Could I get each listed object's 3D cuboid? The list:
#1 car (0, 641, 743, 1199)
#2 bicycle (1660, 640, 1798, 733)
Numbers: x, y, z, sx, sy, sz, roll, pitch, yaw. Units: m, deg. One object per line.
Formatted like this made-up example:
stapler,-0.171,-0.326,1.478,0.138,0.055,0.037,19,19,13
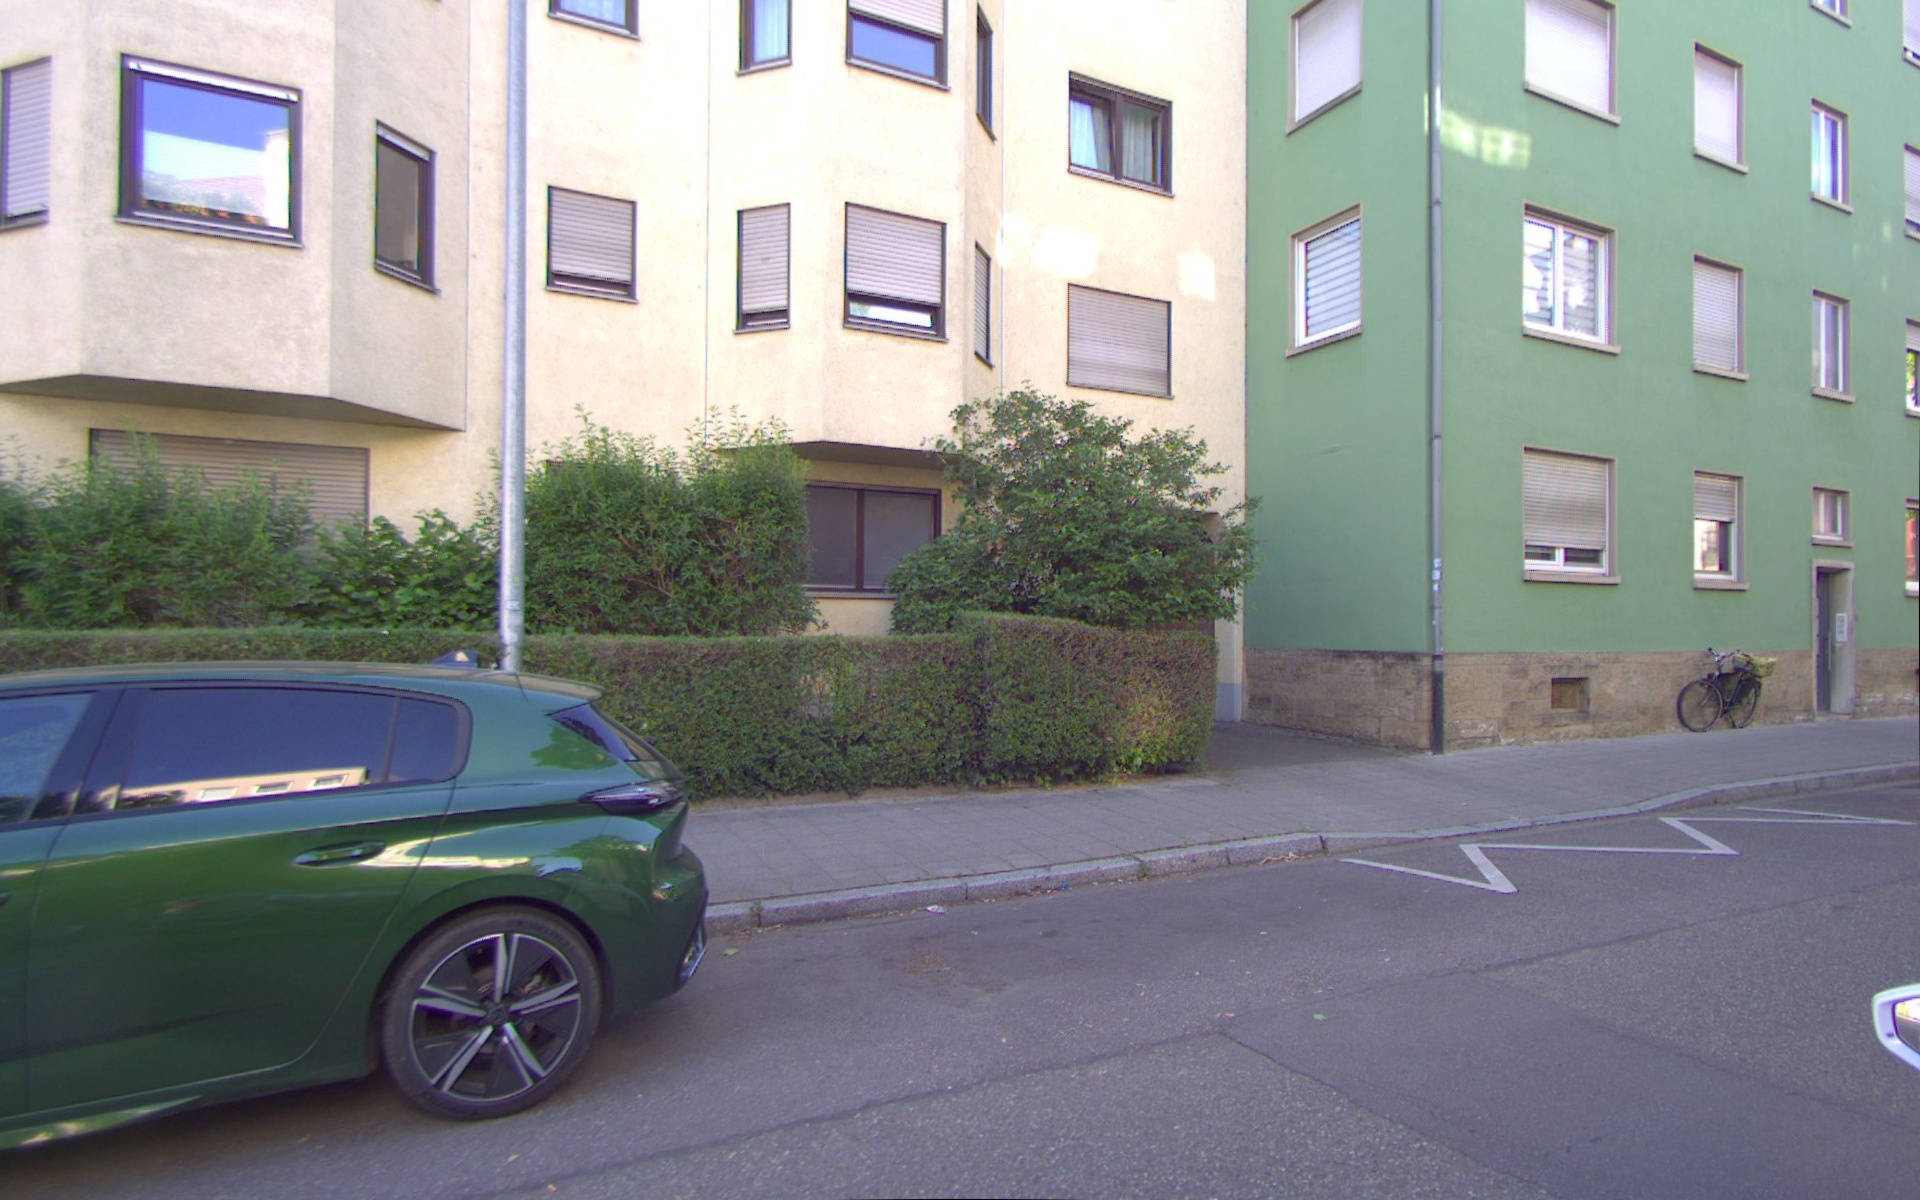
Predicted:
car,-2.942,0.908,3.282,4.082,1.516,1.747,1,-3,-27
bicycle,10.821,1.178,14.115,2.248,1.194,0.549,1,2,-26
